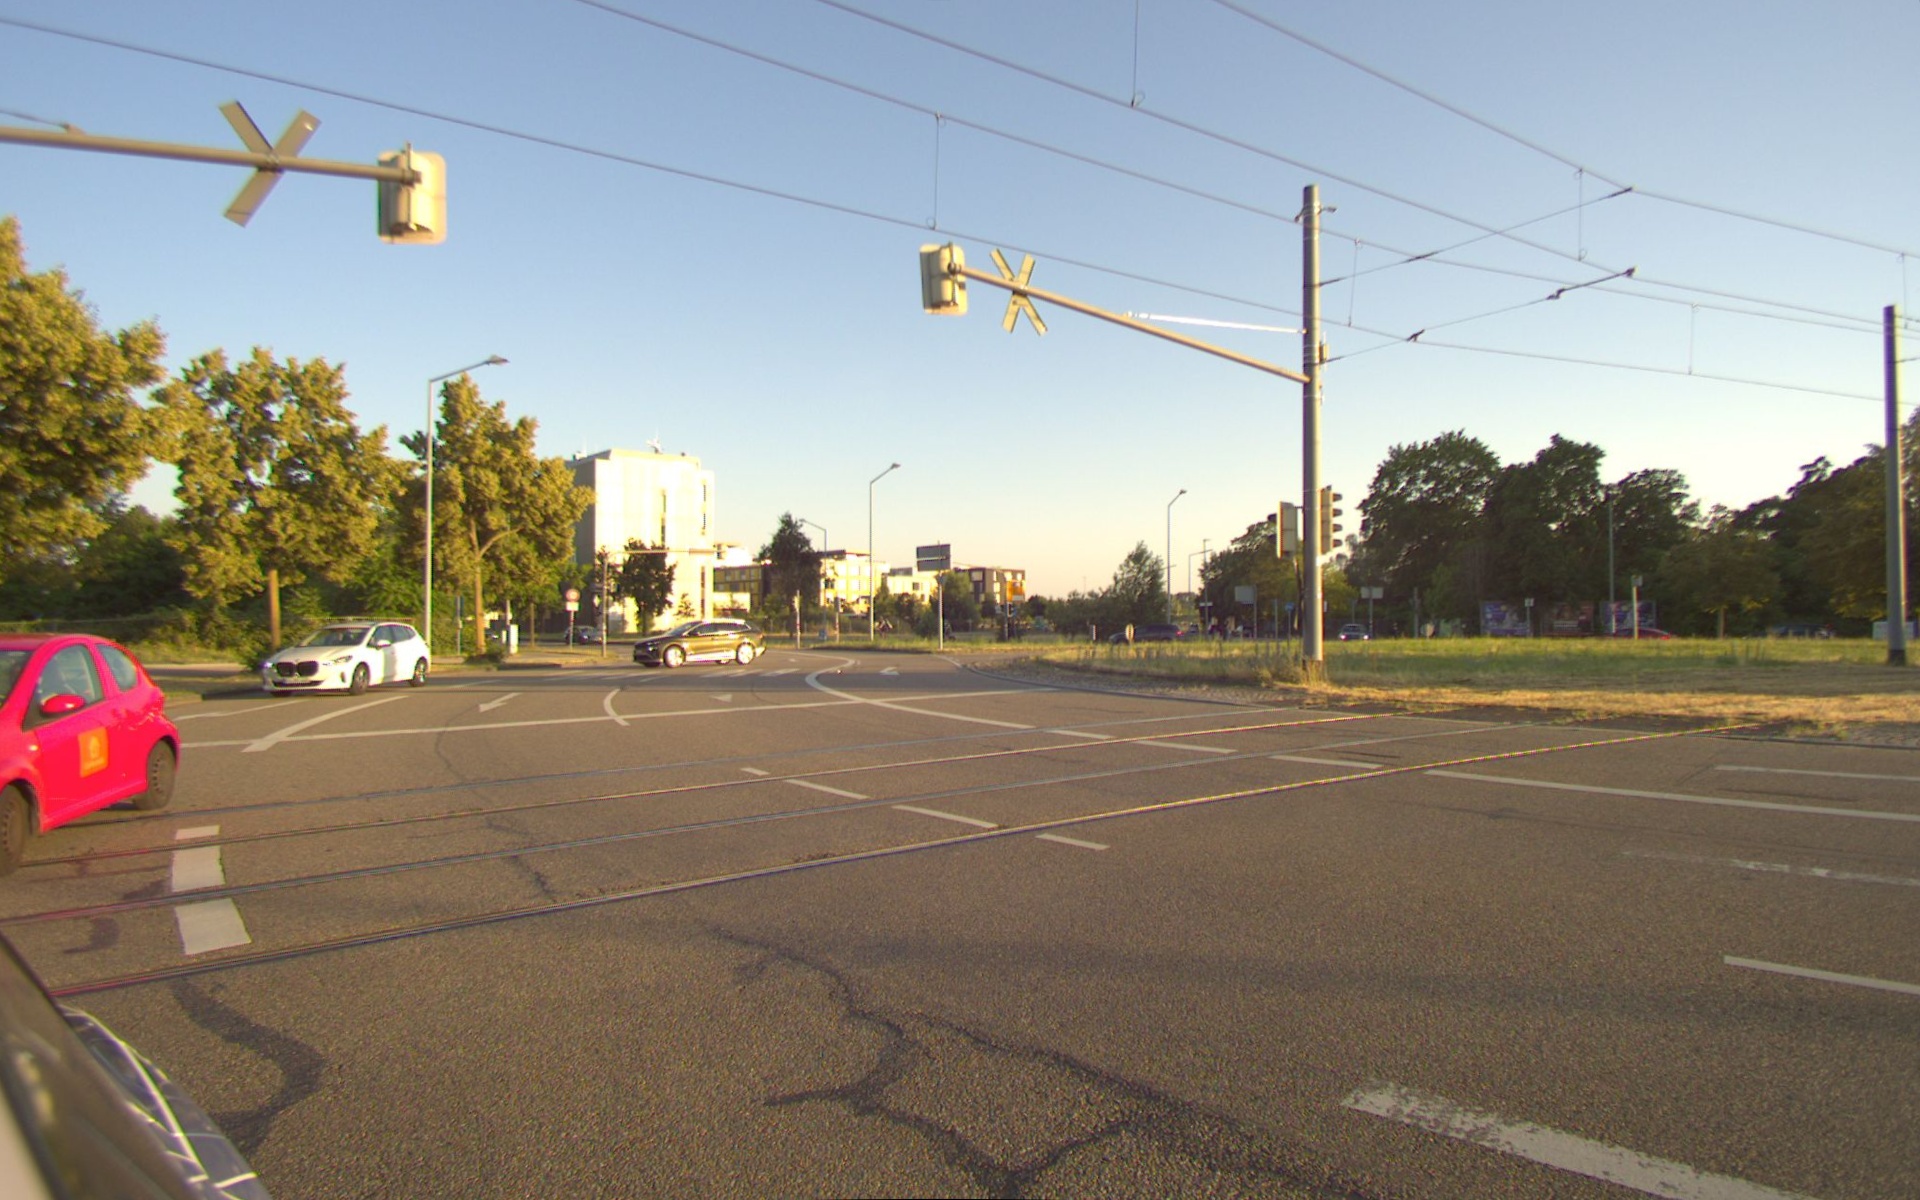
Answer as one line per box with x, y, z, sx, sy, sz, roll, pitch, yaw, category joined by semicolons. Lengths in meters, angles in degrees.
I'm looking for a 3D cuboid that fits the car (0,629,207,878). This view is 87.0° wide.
-6.735;0.921;6.678;1.665;1.432;4.224;0;-1;-20;car

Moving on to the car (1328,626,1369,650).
24.956;2.423;65.144;1.823;1.512;4.238;-1;-1;12;car

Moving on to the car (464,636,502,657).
-41.565;4.032;88.177;1.845;1.637;4.197;1;-2;-43;car

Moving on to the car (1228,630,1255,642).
35.201;4.495;126.668;1.916;1.443;4.405;0;-2;-3;car

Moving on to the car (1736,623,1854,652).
43.761;1.965;53.145;1.911;1.443;4.334;1;-2;-28;car

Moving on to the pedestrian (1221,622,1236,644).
20.791;2.549;78.475;0.875;1.714;0.722;1;-3;-35;pedestrian

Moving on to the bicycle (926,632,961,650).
-1.130;2.814;69.325;2.289;1.188;0.813;1;-2;-28;bicycle

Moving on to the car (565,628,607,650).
-29.242;2.987;79.101;1.843;1.637;4.200;1;-1;-39;car

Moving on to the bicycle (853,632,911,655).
-4.930;2.711;63.632;3.478;1.406;1.127;0;-1;-17;bicycle

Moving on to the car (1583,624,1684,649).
39.982;2.170;60.177;1.911;1.443;4.608;1;-2;-30;car

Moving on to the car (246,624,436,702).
-13.673;1.356;22.688;1.735;1.570;4.215;0;-2;-1;car

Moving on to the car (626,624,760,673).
-9.204;1.639;35.095;4.150;1.570;1.830;1;-3;-42;car

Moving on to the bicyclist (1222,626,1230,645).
19.583;2.638;74.479;0.442;1.408;0.473;0;-2;1;bicyclist

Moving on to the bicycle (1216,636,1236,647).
19.576;3.054;74.480;1.399;0.797;0.473;0;-2;1;bicycle

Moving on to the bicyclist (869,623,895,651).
-4.891;2.307;63.660;1.393;1.762;1.127;0;-1;-17;bicyclist

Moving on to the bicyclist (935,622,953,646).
-1.076;2.346;69.367;0.983;1.645;0.813;1;-2;-28;bicyclist

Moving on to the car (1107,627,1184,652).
11.087;2.376;60.324;4.364;1.443;1.934;-1;-2;17;car
